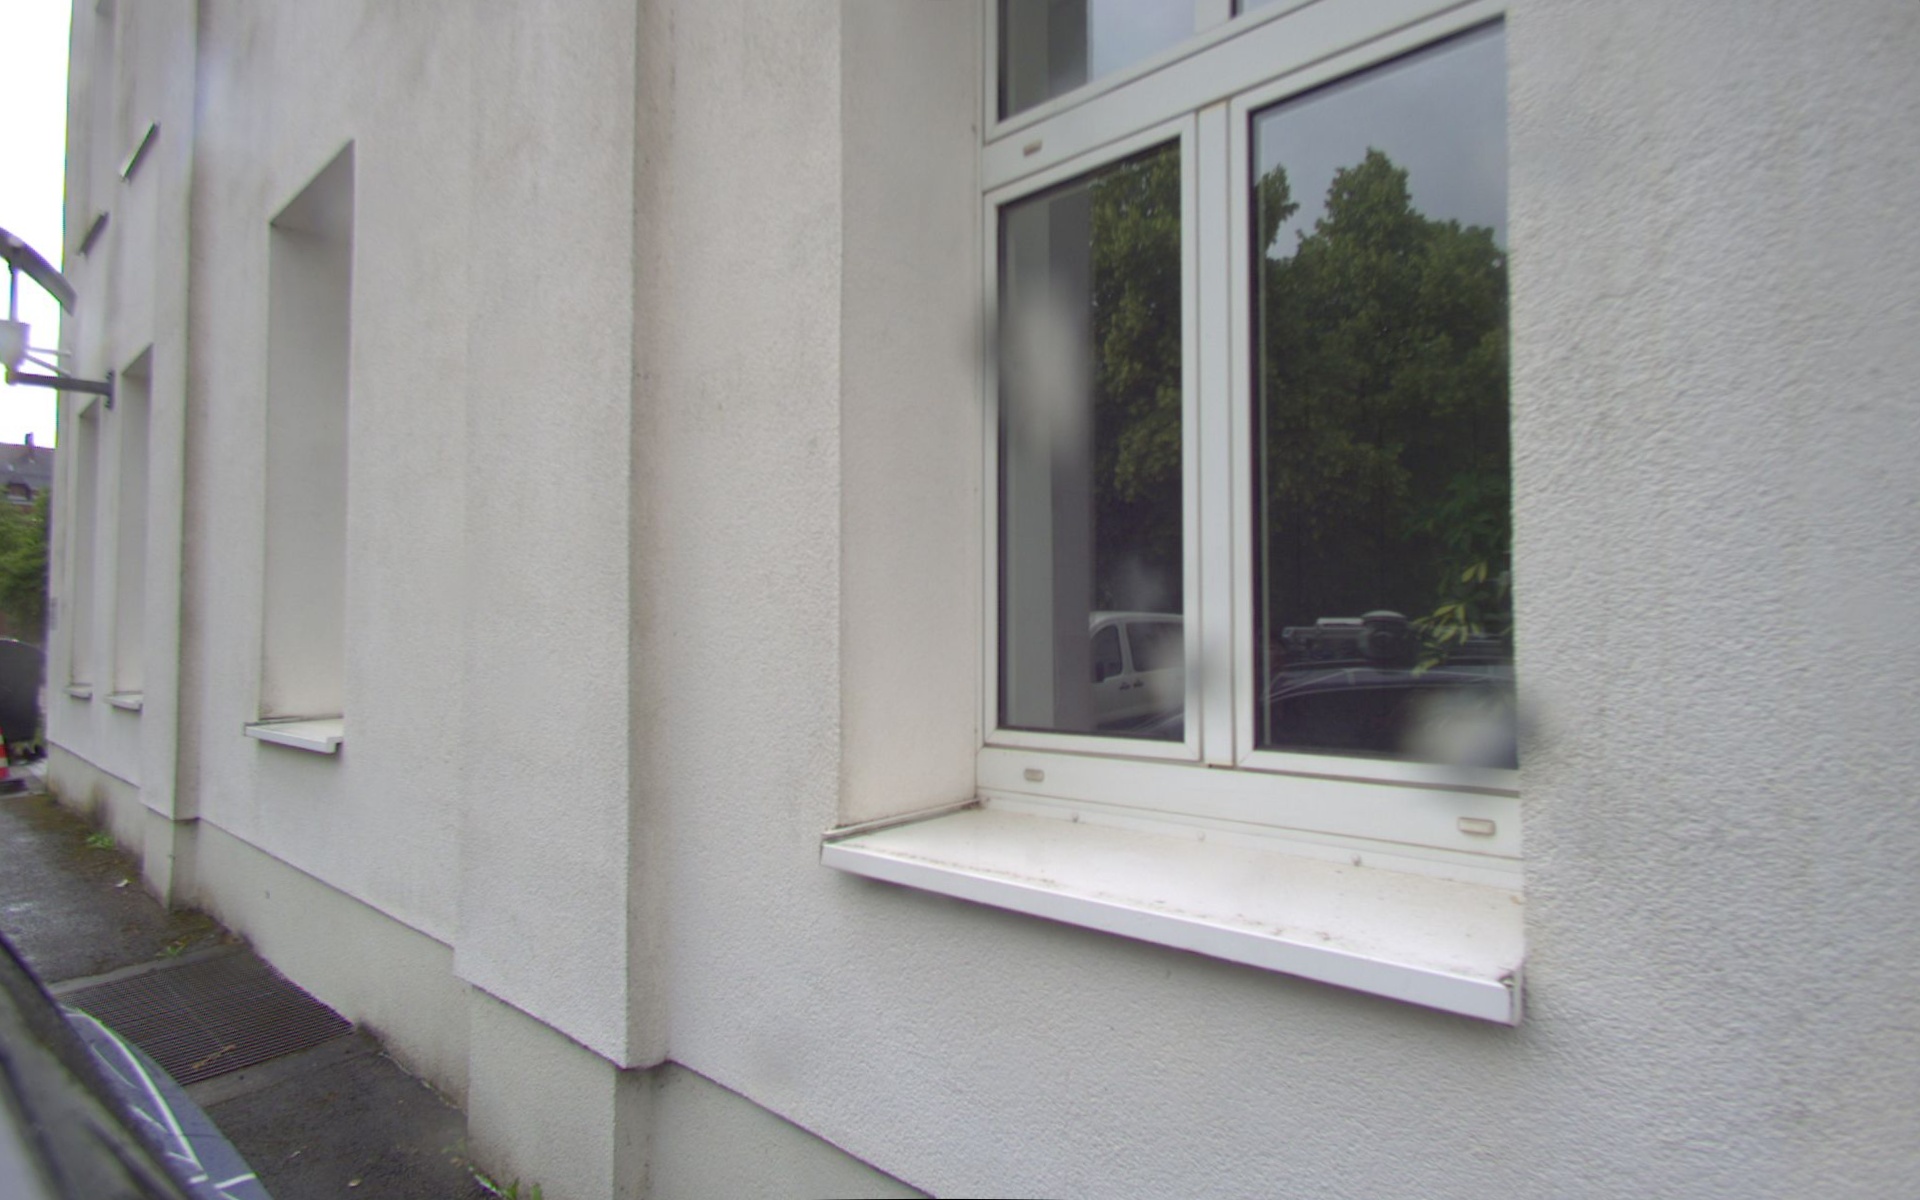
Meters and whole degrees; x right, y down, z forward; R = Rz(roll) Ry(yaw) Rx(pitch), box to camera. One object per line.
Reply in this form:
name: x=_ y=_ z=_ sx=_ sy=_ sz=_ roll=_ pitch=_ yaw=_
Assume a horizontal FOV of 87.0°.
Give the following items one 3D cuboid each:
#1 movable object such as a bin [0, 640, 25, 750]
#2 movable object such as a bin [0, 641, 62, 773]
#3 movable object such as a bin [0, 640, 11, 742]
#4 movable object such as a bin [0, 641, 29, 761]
movable object such as a bin: x=-13.847 y=1.313 z=13.958 sx=1.400 sy=1.494 sz=1.153 roll=-3 pitch=-4 yaw=37
movable object such as a bin: x=-11.609 y=1.233 z=11.942 sx=1.592 sy=1.494 sz=1.153 roll=-2 pitch=-5 yaw=37
movable object such as a bin: x=-14.929 y=1.368 z=14.875 sx=1.399 sy=1.494 sz=1.154 roll=-4 pitch=-4 yaw=35
movable object such as a bin: x=-12.839 y=1.262 z=12.860 sx=1.494 sy=1.494 sz=1.153 roll=-2 pitch=-5 yaw=37
